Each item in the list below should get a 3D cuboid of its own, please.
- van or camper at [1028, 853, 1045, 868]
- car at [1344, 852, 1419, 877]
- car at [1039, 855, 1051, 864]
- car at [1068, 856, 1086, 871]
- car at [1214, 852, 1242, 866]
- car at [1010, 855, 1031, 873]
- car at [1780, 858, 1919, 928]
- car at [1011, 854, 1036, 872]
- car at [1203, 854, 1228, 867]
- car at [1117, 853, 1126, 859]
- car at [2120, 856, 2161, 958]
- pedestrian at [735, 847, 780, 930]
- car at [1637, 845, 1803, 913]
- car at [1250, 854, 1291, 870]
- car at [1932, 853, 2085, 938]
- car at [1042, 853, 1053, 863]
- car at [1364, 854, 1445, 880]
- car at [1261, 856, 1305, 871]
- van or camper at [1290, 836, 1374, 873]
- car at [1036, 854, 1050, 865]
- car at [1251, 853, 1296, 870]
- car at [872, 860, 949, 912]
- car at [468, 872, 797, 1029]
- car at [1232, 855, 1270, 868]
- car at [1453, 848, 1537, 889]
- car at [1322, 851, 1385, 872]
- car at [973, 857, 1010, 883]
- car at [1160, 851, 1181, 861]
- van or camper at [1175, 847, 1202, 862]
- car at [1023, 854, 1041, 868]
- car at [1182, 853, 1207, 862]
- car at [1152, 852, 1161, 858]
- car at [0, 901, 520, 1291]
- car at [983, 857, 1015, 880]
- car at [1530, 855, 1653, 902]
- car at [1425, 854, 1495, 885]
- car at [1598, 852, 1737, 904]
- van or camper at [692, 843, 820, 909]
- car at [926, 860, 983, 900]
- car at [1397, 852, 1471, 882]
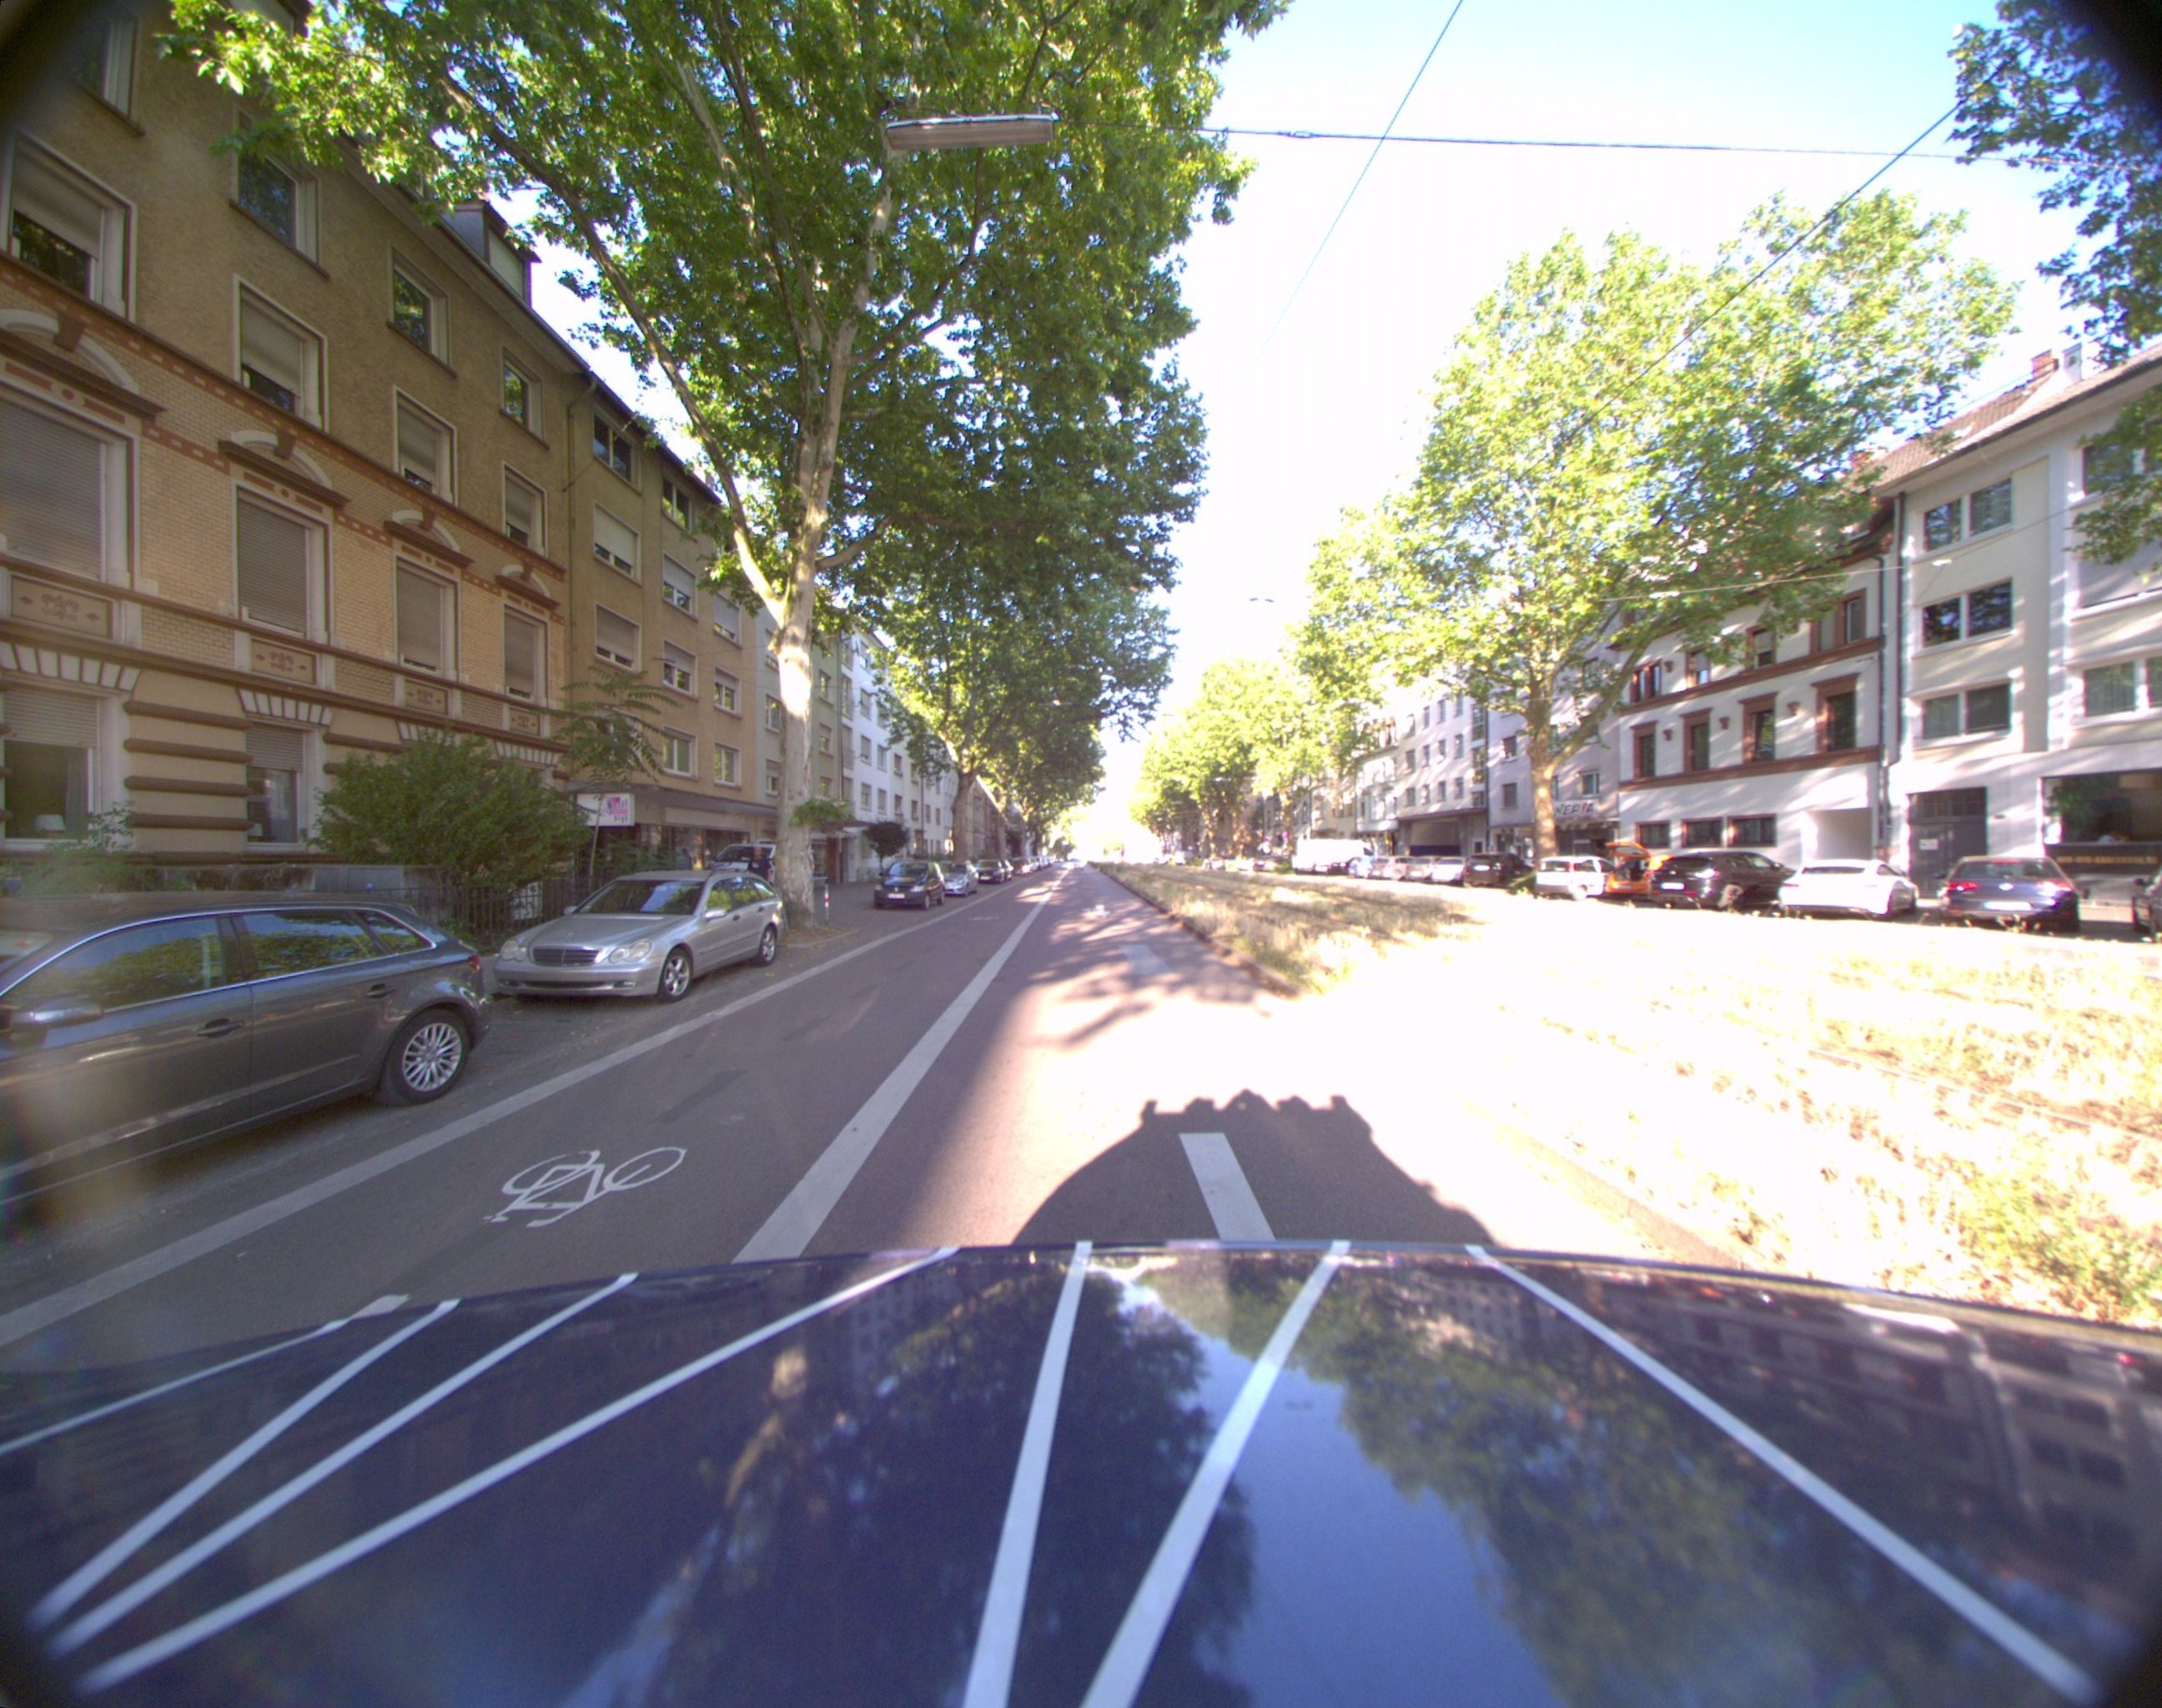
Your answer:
[{"bbox_3d":[-5.419,0.771,92.691,1.790,1.710,4.379,1,0,1],"label":"van or camper"},{"bbox_3d":[18.955,0.653,48.027,3.998,1.412,1.857,-3,1,-4],"label":"car"},{"bbox_3d":[-5.619,0.842,119.787,1.790,1.458,3.569,1,0,0],"label":"car"},{"bbox_3d":[-0.395,1.065,86.260,1.893,1.501,4.000,-2,1,1],"label":"car"},{"bbox_3d":[18.824,0.655,97.396,1.726,1.643,4.009,-1,-1,40],"label":"car"},{"bbox_3d":[-5.288,0.863,66.474,1.748,1.455,4.024,0,0,-5],"label":"car"},{"bbox_3d":[18.647,0.869,18.392,4.212,1.325,1.718,-3,1,-36],"label":"car"},{"bbox_3d":[-5.490,0.815,73.250,1.999,1.557,4.663,2,1,0],"label":"car"},{"bbox_3d":[15.036,0.704,85.087,1.825,1.382,4.483,2,0,-1],"label":"car"},{"bbox_3d":[11.052,0.406,205.204,1.997,1.477,4.002,-2,1,8],"label":"car"},{"bbox_3d":[19.052,0.827,12.675,4.007,1.433,1.717,-3,1,-41],"label":"car"},{"bbox_3d":[-7.960,0.825,18.716,0.684,2.002,1.011,0,1,-3],"label":"pedestrian"},{"bbox_3d":[18.293,0.699,21.741,4.370,1.776,1.989,1,1,-26],"label":"car"},{"bbox_3d":[19.212,0.823,76.918,4.008,1.524,1.821,1,-1,-36],"label":"car"},{"bbox_3d":[19.357,0.786,16.015,4.007,1.433,1.797,-3,1,-43],"label":"car"},{"bbox_3d":[-5.605,0.653,127.076,1.791,1.585,4.013,1,0,-2],"label":"car"},{"bbox_3d":[19.166,0.732,45.071,4.002,1.483,1.948,0,0,-13],"label":"car"},{"bbox_3d":[18.692,0.833,70.250,4.014,1.349,1.797,1,0,-37],"label":"car"},{"bbox_3d":[18.975,0.026,57.442,5.974,2.631,2.175,-1,0,-20],"label":"van or camper"},{"bbox_3d":[-5.493,0.794,109.714,1.790,1.609,3.829,1,0,0],"label":"car"},{"bbox_3d":[18.638,0.737,73.538,4.169,1.583,1.932,2,-1,-36],"label":"car"},{"bbox_3d":[-5.432,0.969,24.708,1.658,1.536,3.999,0,0,-1],"label":"car"},{"bbox_3d":[-5.347,1.021,9.914,1.678,1.443,4.570,0,0,-2],"label":"car"},{"bbox_3d":[18.202,0.802,81.421,3.687,1.382,1.822,-1,0,-31],"label":"car"},{"bbox_3d":[18.680,0.624,34.222,4.008,1.651,1.995,-1,0,-41],"label":"car"},{"bbox_3d":[19.699,0.566,54.933,4.004,1.482,1.996,0,0,-22],"label":"car"},{"bbox_3d":[-5.323,0.921,45.663,1.713,1.407,4.363,2,0,0],"label":"car"},{"bbox_3d":[18.307,0.406,154.798,4.007,2.002,1.995,-3,1,-42],"label":"car"},{"bbox_3d":[18.354,0.049,129.709,4.371,2.386,2.196,-4,2,-40],"label":"van or camper"},{"bbox_3d":[-5.553,0.799,86.392,1.702,1.517,4.194,0,0,0],"label":"car"},{"bbox_3d":[18.967,0.612,127.187,4.006,1.240,1.726,-4,1,-34],"label":"car"},{"bbox_3d":[20.178,0.359,202.866,1.998,1.412,4.000,-2,1,2],"label":"car"},{"bbox_3d":[-5.186,1.063,3.648,1.714,1.388,4.321,0,0,1],"label":"car"},{"bbox_3d":[-5.409,0.930,50.554,1.713,1.407,4.363,2,0,0],"label":"car"},{"bbox_3d":[18.034,0.825,26.803,4.369,1.440,1.655,-2,1,-26],"label":"car"},{"bbox_3d":[18.930,0.759,37.883,4.008,1.377,1.907,-2,0,-45],"label":"car"},{"bbox_3d":[19.494,0.747,25.252,4.003,1.471,1.774,-3,1,-20],"label":"car"},{"bbox_3d":[-10.441,0.639,24.942,1.947,1.911,5.390,0,0,-1],"label":"van or camper"},{"bbox_3d":[-5.316,1.055,32.464,1.699,1.533,4.776,0,0,-1],"label":"car"},{"bbox_3d":[19.057,0.684,40.940,4.006,1.414,1.752,-3,1,-34],"label":"car"}]
